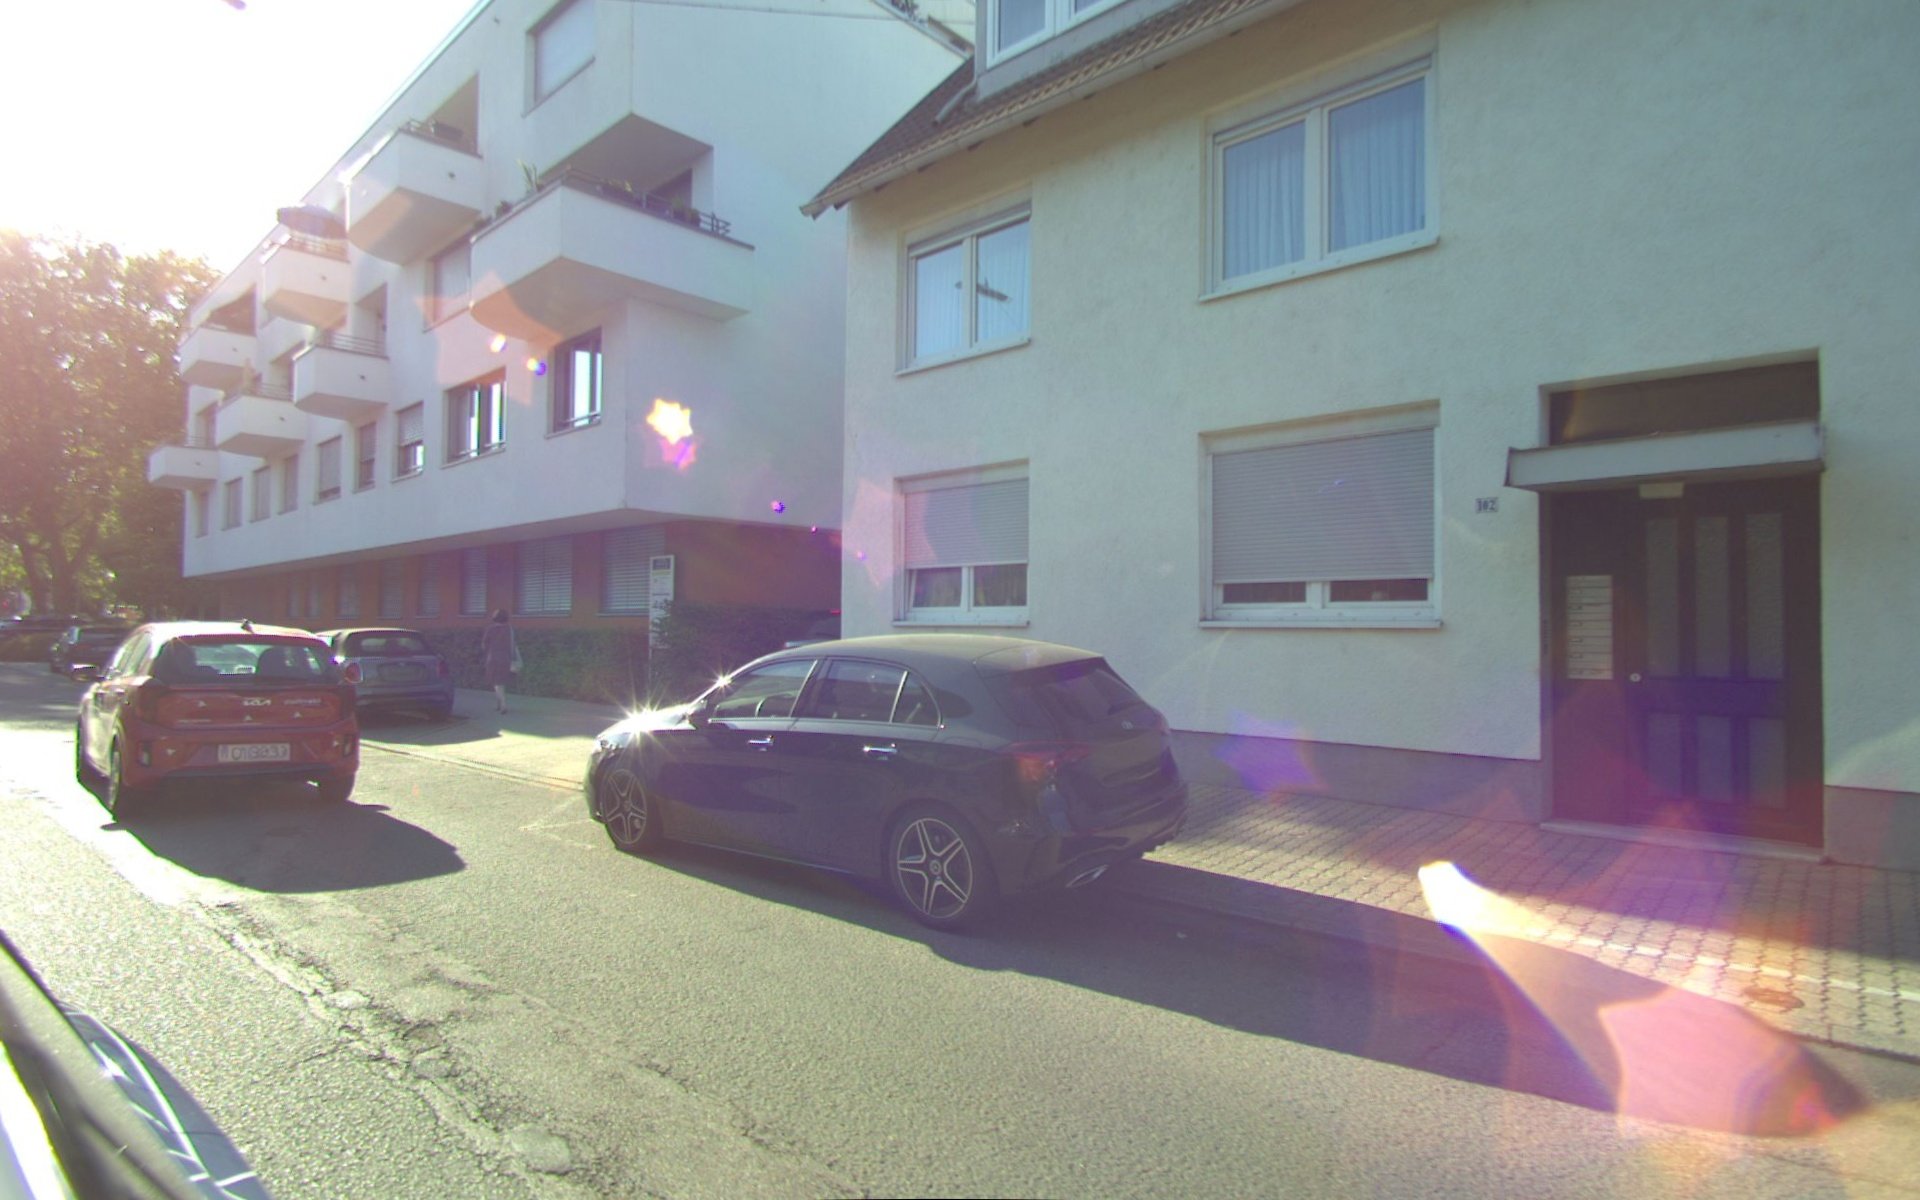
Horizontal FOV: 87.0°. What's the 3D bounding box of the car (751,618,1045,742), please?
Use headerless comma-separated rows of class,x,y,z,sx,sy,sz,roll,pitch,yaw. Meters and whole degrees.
car,-0.801,1.253,15.877,2.012,1.651,4.559,-2,-5,40

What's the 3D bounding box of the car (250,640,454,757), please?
car,-9.664,1.445,15.980,3.855,1.547,1.650,-1,-2,41

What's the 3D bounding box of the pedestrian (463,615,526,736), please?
pedestrian,-7.472,1.174,16.263,0.849,1.832,1.135,-1,-1,-25

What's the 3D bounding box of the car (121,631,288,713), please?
car,-16.753,1.499,22.365,4.615,1.599,1.840,-1,-2,39

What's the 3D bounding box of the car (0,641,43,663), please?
car,-67.508,3.668,71.527,1.639,1.572,3.572,0,-2,22

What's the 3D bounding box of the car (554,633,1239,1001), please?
car,-0.629,1.004,6.403,4.329,1.547,1.668,-1,-2,38

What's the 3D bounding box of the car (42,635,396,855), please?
car,-6.791,1.094,9.099,4.145,1.502,1.821,-2,-4,44

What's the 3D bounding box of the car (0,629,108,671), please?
car,-39.178,2.114,43.307,1.683,1.675,3.943,0,-2,13

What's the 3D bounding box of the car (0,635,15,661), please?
car,-72.262,3.500,74.265,1.701,1.901,3.981,0,-2,14

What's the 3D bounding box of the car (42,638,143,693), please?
car,-25.585,1.884,29.810,3.768,1.444,1.657,-1,-2,40

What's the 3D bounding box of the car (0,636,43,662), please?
car,-69.587,3.536,73.489,1.823,1.896,3.967,0,-2,24
